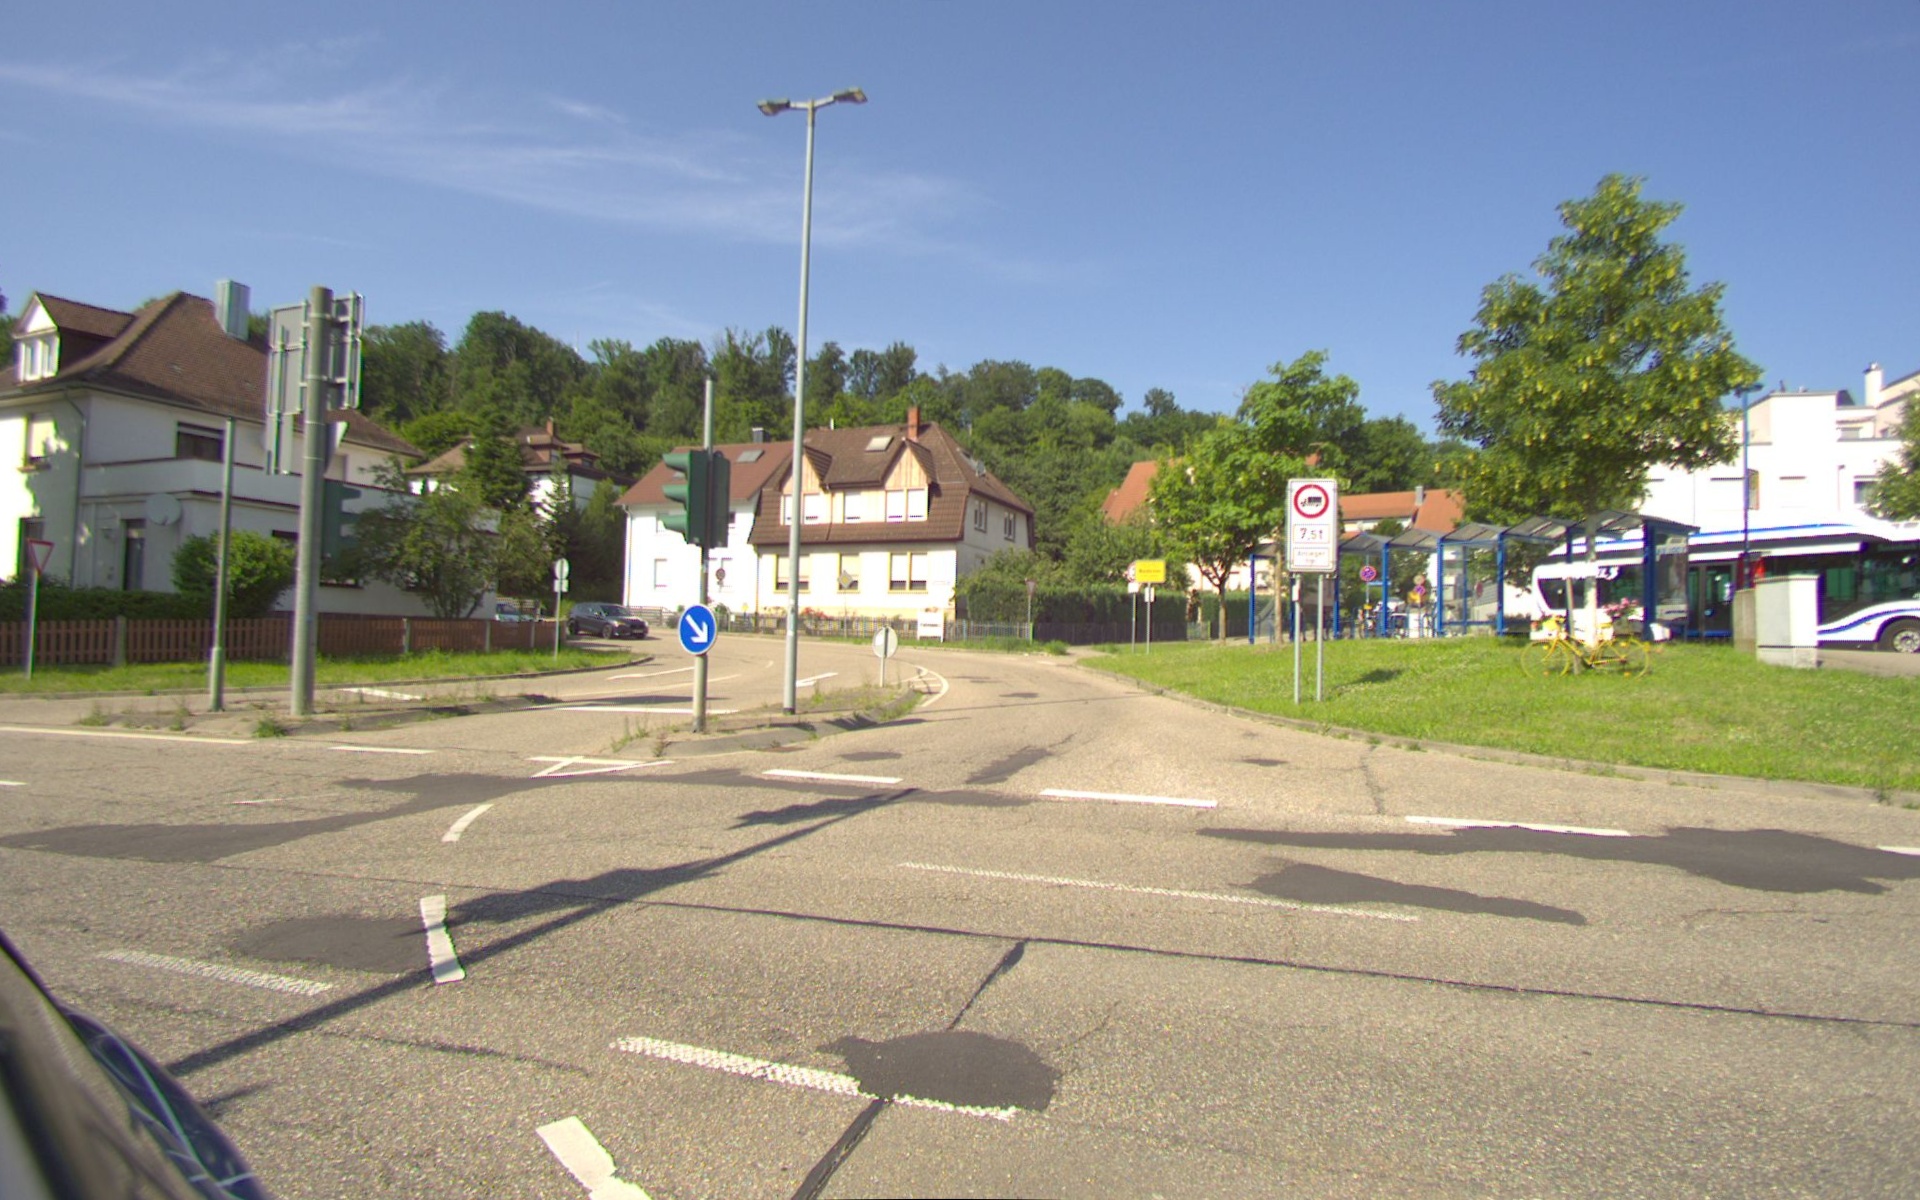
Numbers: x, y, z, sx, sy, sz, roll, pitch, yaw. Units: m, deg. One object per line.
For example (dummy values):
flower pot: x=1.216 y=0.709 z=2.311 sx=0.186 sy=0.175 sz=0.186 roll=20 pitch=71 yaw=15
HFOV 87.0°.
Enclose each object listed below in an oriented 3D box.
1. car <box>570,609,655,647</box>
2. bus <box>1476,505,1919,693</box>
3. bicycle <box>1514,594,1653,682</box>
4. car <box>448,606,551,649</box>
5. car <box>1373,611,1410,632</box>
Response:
car: x=-14.992 y=1.200 z=43.562 sx=1.970 sy=1.519 sz=4.004 roll=0 pitch=-2 yaw=-43
bus: x=18.714 y=0.064 z=23.816 sx=2.820 sy=3.742 sz=12.257 roll=-1 pitch=-1 yaw=-27
bicycle: x=9.732 y=0.606 z=15.850 sx=1.751 sy=1.265 sz=0.614 roll=-4 pitch=0 yaw=32
car: x=-18.789 y=1.116 z=41.267 sx=3.986 sy=1.649 sz=1.919 roll=-2 pitch=-1 yaw=32
car: x=38.452 y=1.924 z=90.151 sx=1.998 sy=1.822 sz=3.946 roll=-1 pitch=-2 yaw=40
